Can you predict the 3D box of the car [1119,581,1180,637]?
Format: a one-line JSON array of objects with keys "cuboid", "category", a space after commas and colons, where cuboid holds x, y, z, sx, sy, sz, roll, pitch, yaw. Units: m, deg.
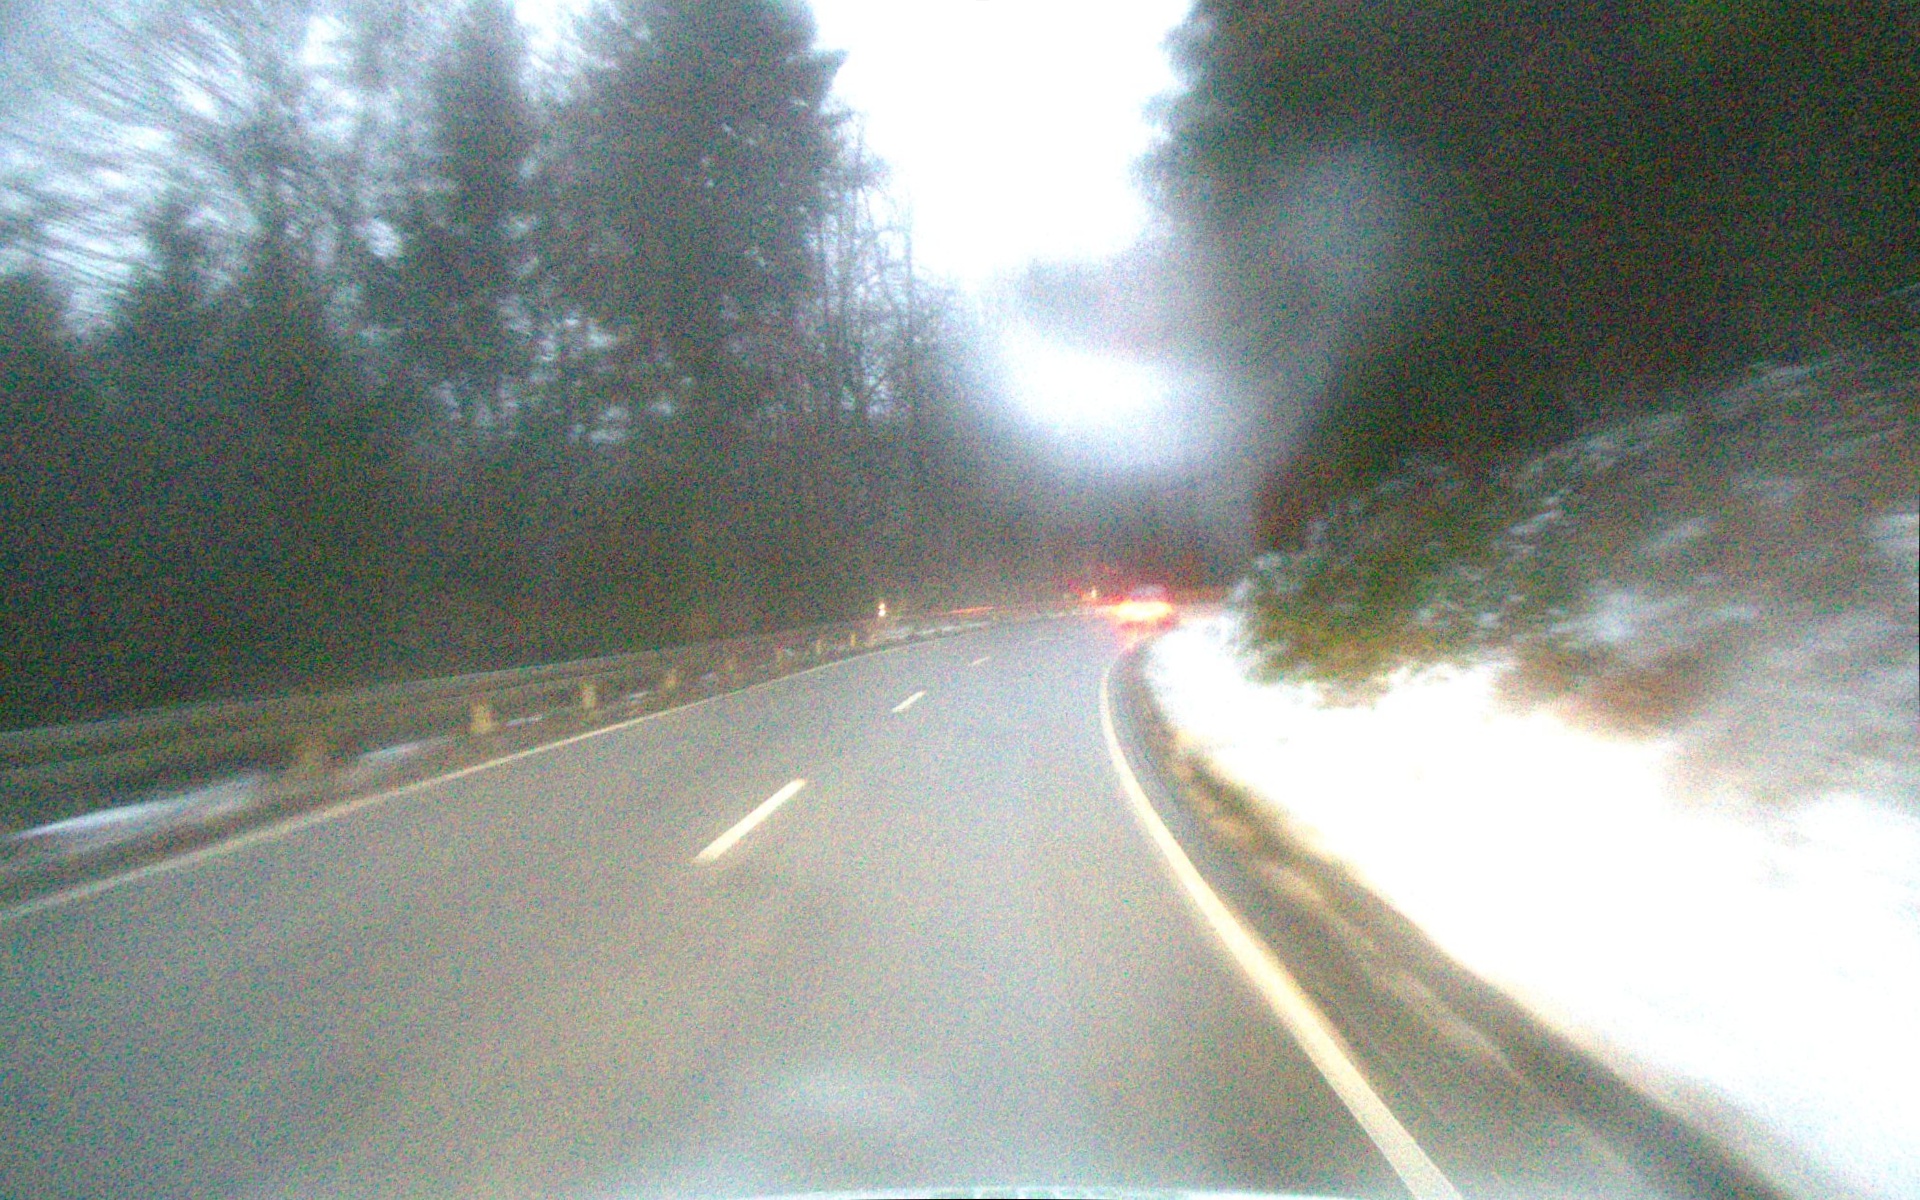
[{"cuboid": [7.083, 0.311, 61.512, 1.951, 1.905, 4.004, -3, 0, 10], "category": "car"}]
